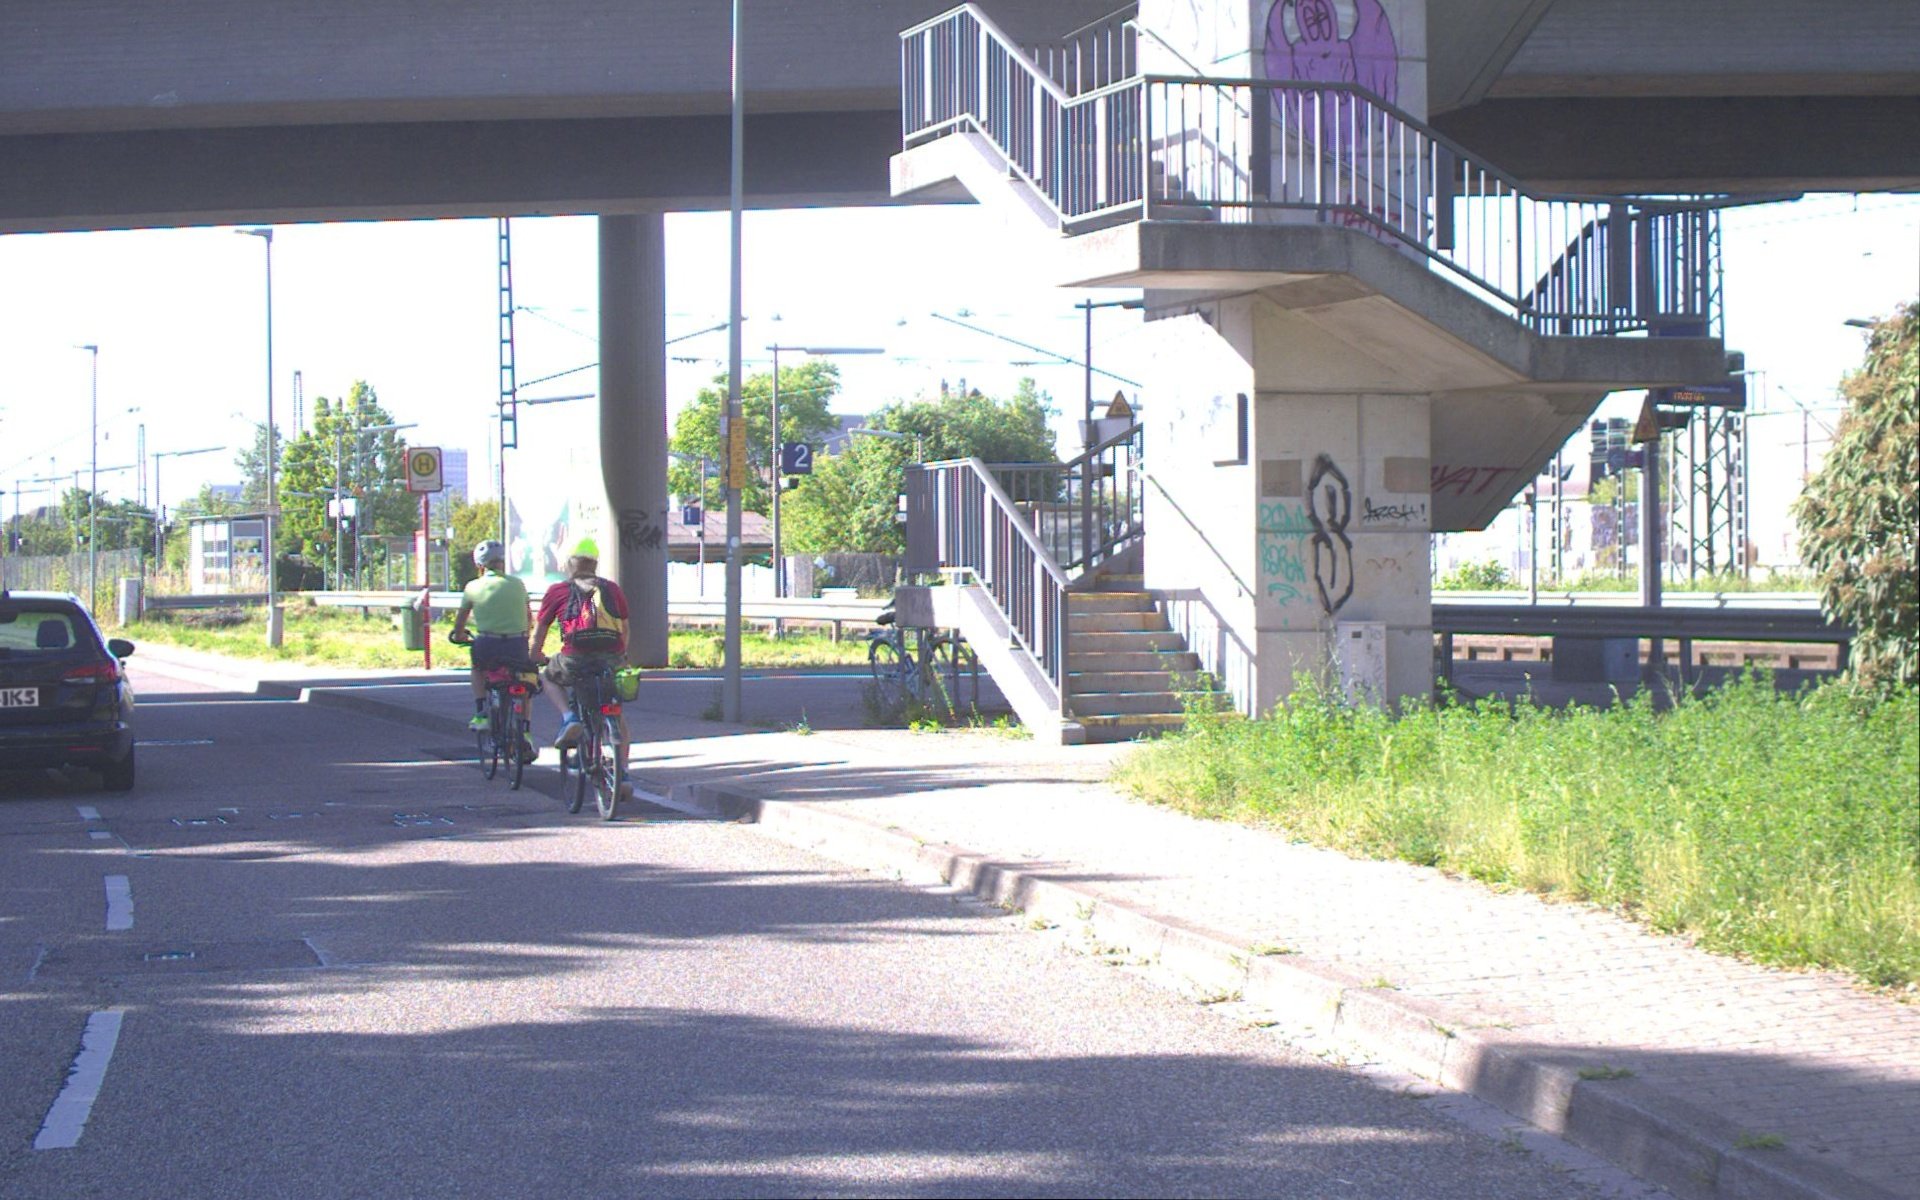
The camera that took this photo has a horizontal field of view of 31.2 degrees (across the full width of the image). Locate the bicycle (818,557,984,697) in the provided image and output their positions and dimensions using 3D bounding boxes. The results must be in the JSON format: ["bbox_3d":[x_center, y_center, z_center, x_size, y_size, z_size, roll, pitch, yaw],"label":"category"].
[{"bbox_3d":[-0.543,0.223,30.636,0.597,1.178,2.182,-2,1,-25],"label":"bicycle"}]

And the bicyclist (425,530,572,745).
[{"bbox_3d":[-3.309,0.255,24.595,0.840,1.483,0.924,-2,1,-19],"label":"bicyclist"}]

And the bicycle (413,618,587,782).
[{"bbox_3d":[-3.323,0.692,24.649,0.840,1.048,2.190,-2,1,-18],"label":"bicycle"}]

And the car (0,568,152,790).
[{"bbox_3d":[-7.180,0.534,25.852,1.942,1.483,4.567,-2,1,-15],"label":"car"}]

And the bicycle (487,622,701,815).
[{"bbox_3d":[-2.275,0.696,21.122,0.840,1.048,2.190,-2,1,-18],"label":"bicycle"}]

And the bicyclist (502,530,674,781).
[{"bbox_3d":[-2.300,0.325,21.168,0.840,1.483,0.924,-2,1,-18],"label":"bicyclist"}]
